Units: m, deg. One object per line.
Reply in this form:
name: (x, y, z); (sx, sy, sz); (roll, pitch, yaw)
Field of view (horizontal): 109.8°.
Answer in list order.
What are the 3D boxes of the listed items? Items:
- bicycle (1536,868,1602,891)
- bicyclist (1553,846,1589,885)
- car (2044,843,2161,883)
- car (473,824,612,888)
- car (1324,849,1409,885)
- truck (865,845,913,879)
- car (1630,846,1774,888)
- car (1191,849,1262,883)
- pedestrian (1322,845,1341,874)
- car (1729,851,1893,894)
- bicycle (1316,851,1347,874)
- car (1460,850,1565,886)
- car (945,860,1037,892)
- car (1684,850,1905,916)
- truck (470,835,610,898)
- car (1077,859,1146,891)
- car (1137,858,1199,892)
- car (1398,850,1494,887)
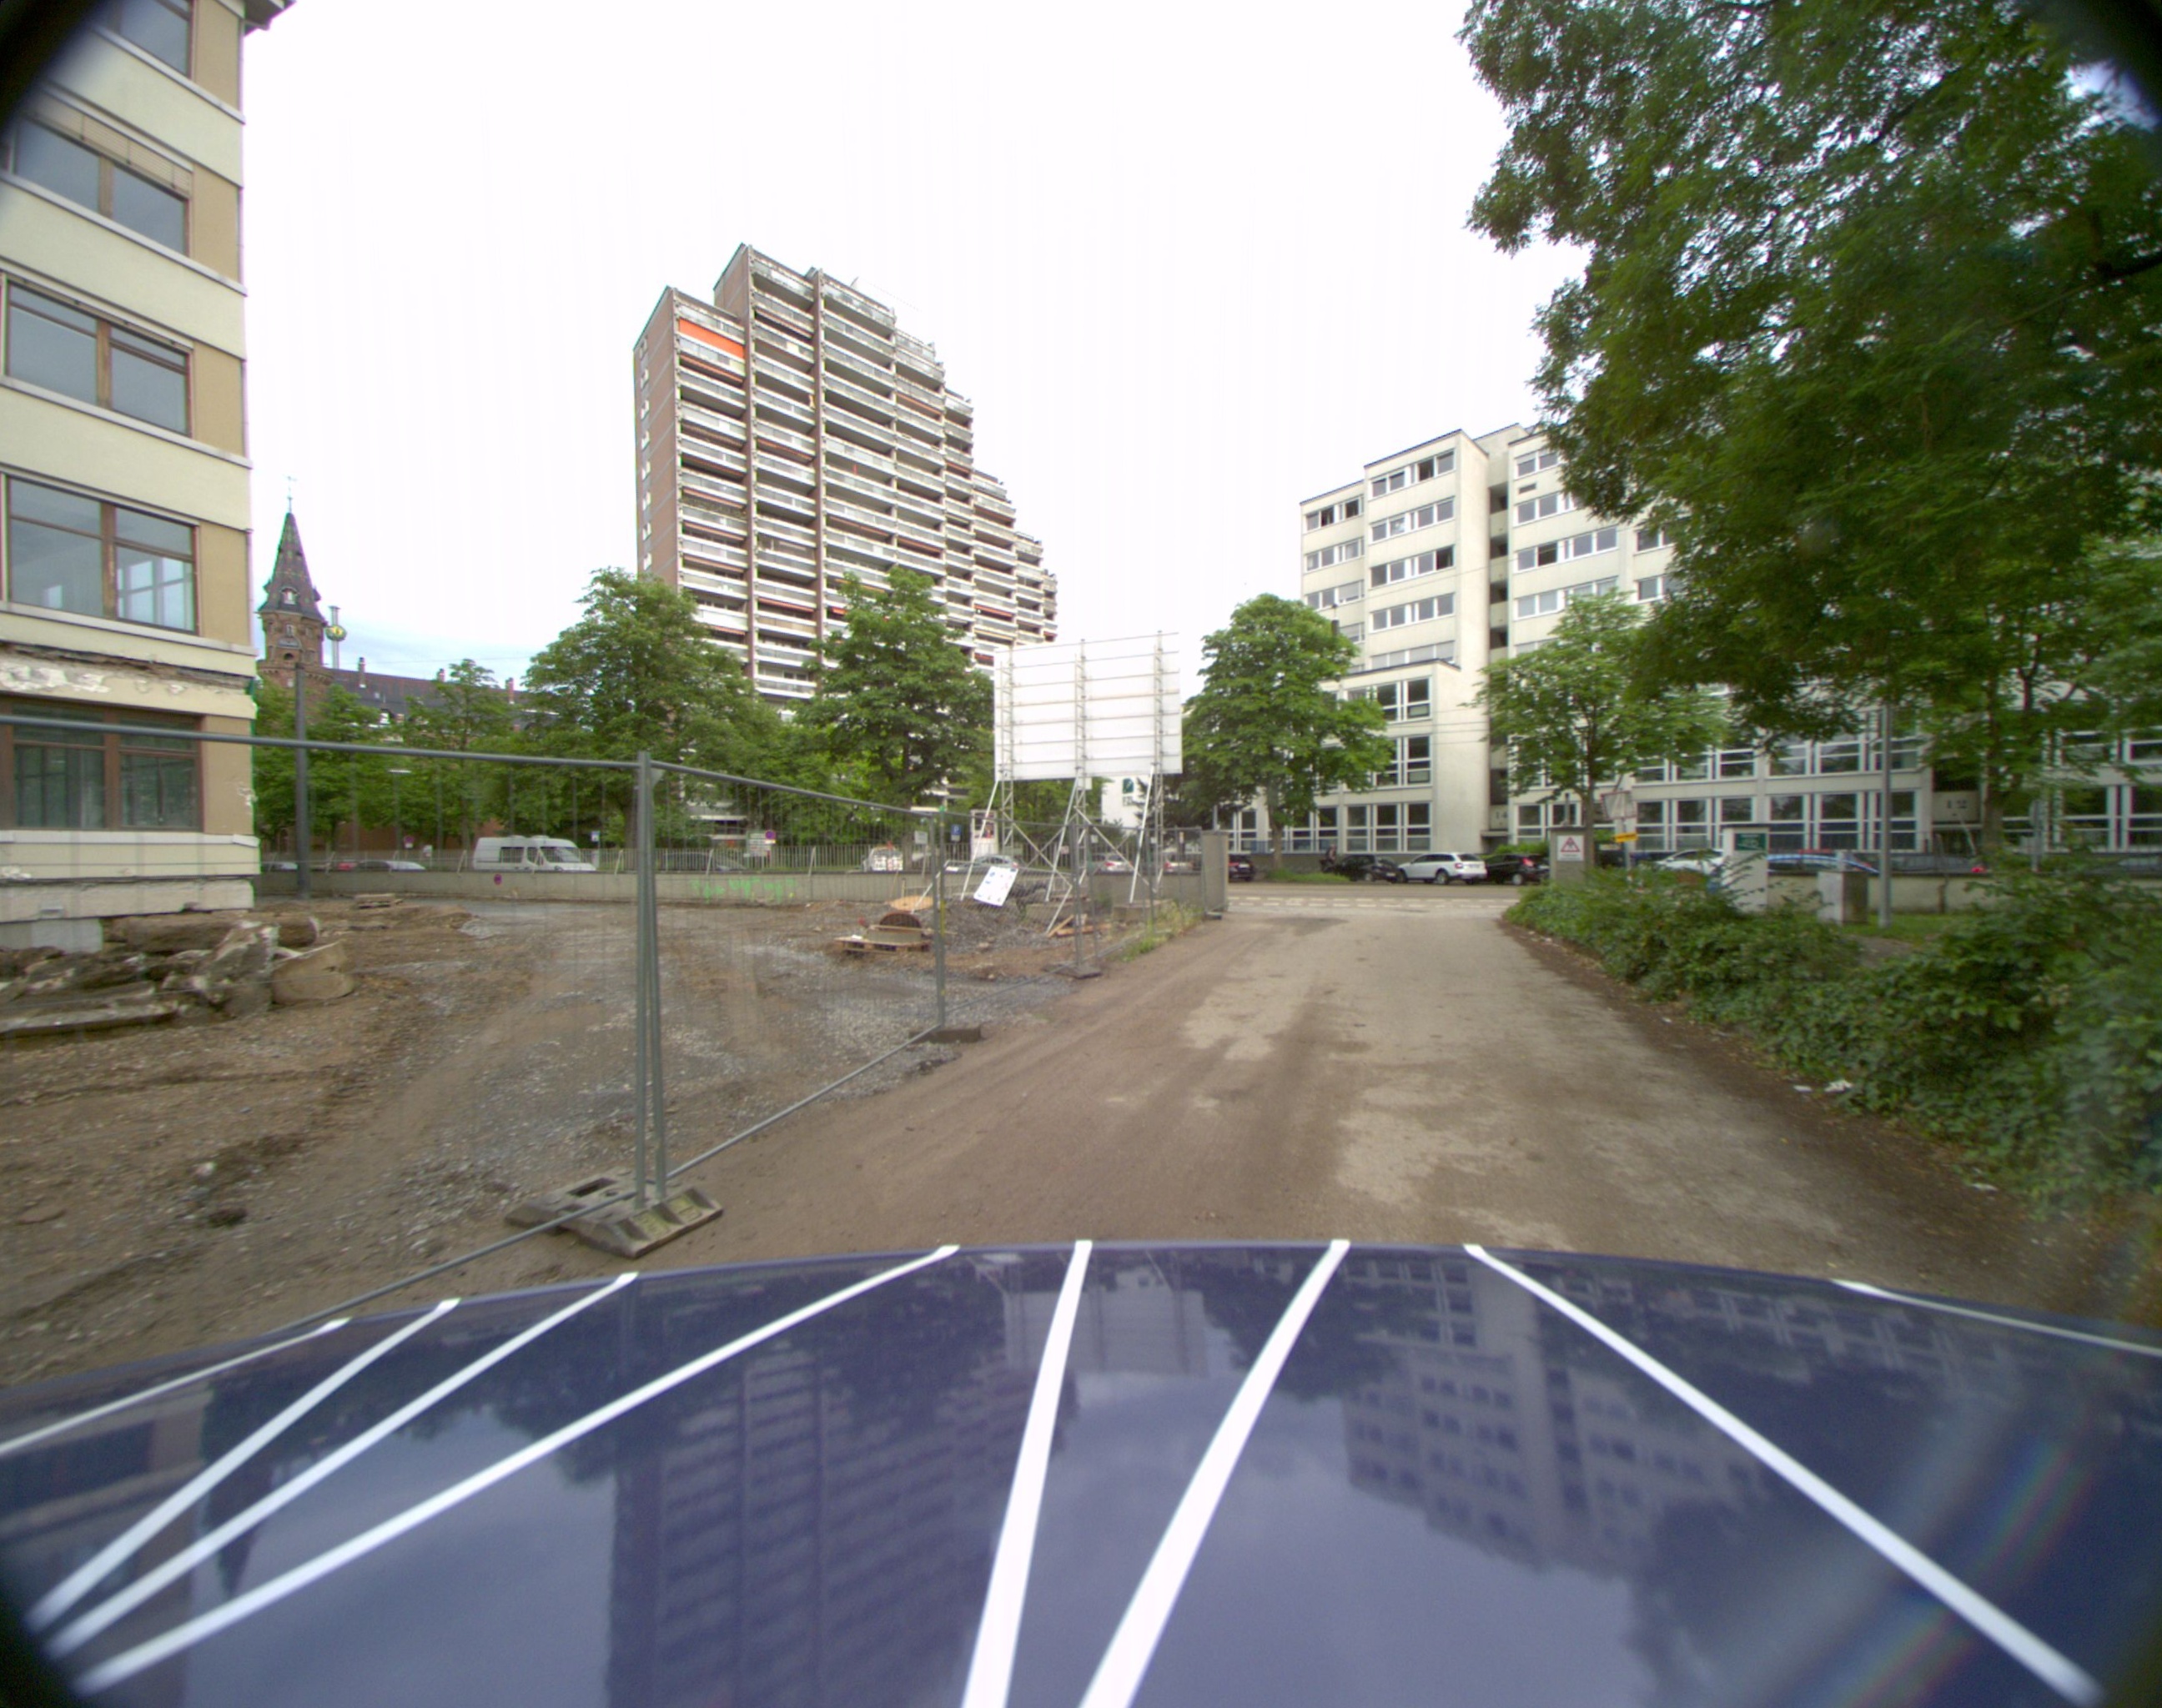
bicycle: (19.067, 0.990, 29.740); (2.133, 0.864, 0.471); (0, 1, 21)
bicyclist: (19.142, 0.435, 29.703); (1.025, 1.491, 0.847); (0, 1, 22)
car: (37.973, 0.302, 27.226); (1.702, 1.344, 3.959); (-2, 2, -24)
car: (-23.277, 0.068, 32.833); (5.479, 2.588, 2.122); (0, 2, 21)
car: (13.564, 0.589, 36.319); (1.702, 1.515, 3.697); (-2, 2, -23)
truck: (-11.614, 0.418, 45.698); (2.002, 1.838, 5.053); (-1, 2, -24)
car: (25.794, 0.483, 31.730); (1.702, 1.547, 4.336); (-2, 2, -28)
car: (7.204, 0.561, 37.917); (1.702, 1.515, 3.697); (-2, 2, -23)
pedestrian: (14.064, 0.310, 42.679); (0.753, 1.603, 0.735); (3, 5, 42)
car: (28.845, 0.673, 30.205); (1.702, 1.446, 4.336); (-2, 2, -24)
bicycle: (13.923, 0.446, 42.274); (1.591, 1.261, 0.407); (0, 1, 30)
car: (19.352, 0.592, 34.283); (1.701, 1.398, 4.021); (-1, 2, -17)
car: (-4.284, 1.027, 36.198); (3.991, 1.420, 1.749); (0, 1, 20)
car: (16.676, 0.654, 17.965); (3.424, 1.452, 1.682); (0, -1, 20)
truck: (-23.343, 0.499, 32.795); (5.479, 2.588, 2.122); (0, 2, 21)
car: (1.572, 1.090, 40.732); (1.806, 1.456, 4.421); (-1, 2, -27)
car: (4.435, 1.046, 39.260); (1.574, 1.515, 3.643); (-2, 2, -23)
car: (16.680, 0.599, 34.941); (1.701, 1.476, 4.021); (-1, 2, -17)
